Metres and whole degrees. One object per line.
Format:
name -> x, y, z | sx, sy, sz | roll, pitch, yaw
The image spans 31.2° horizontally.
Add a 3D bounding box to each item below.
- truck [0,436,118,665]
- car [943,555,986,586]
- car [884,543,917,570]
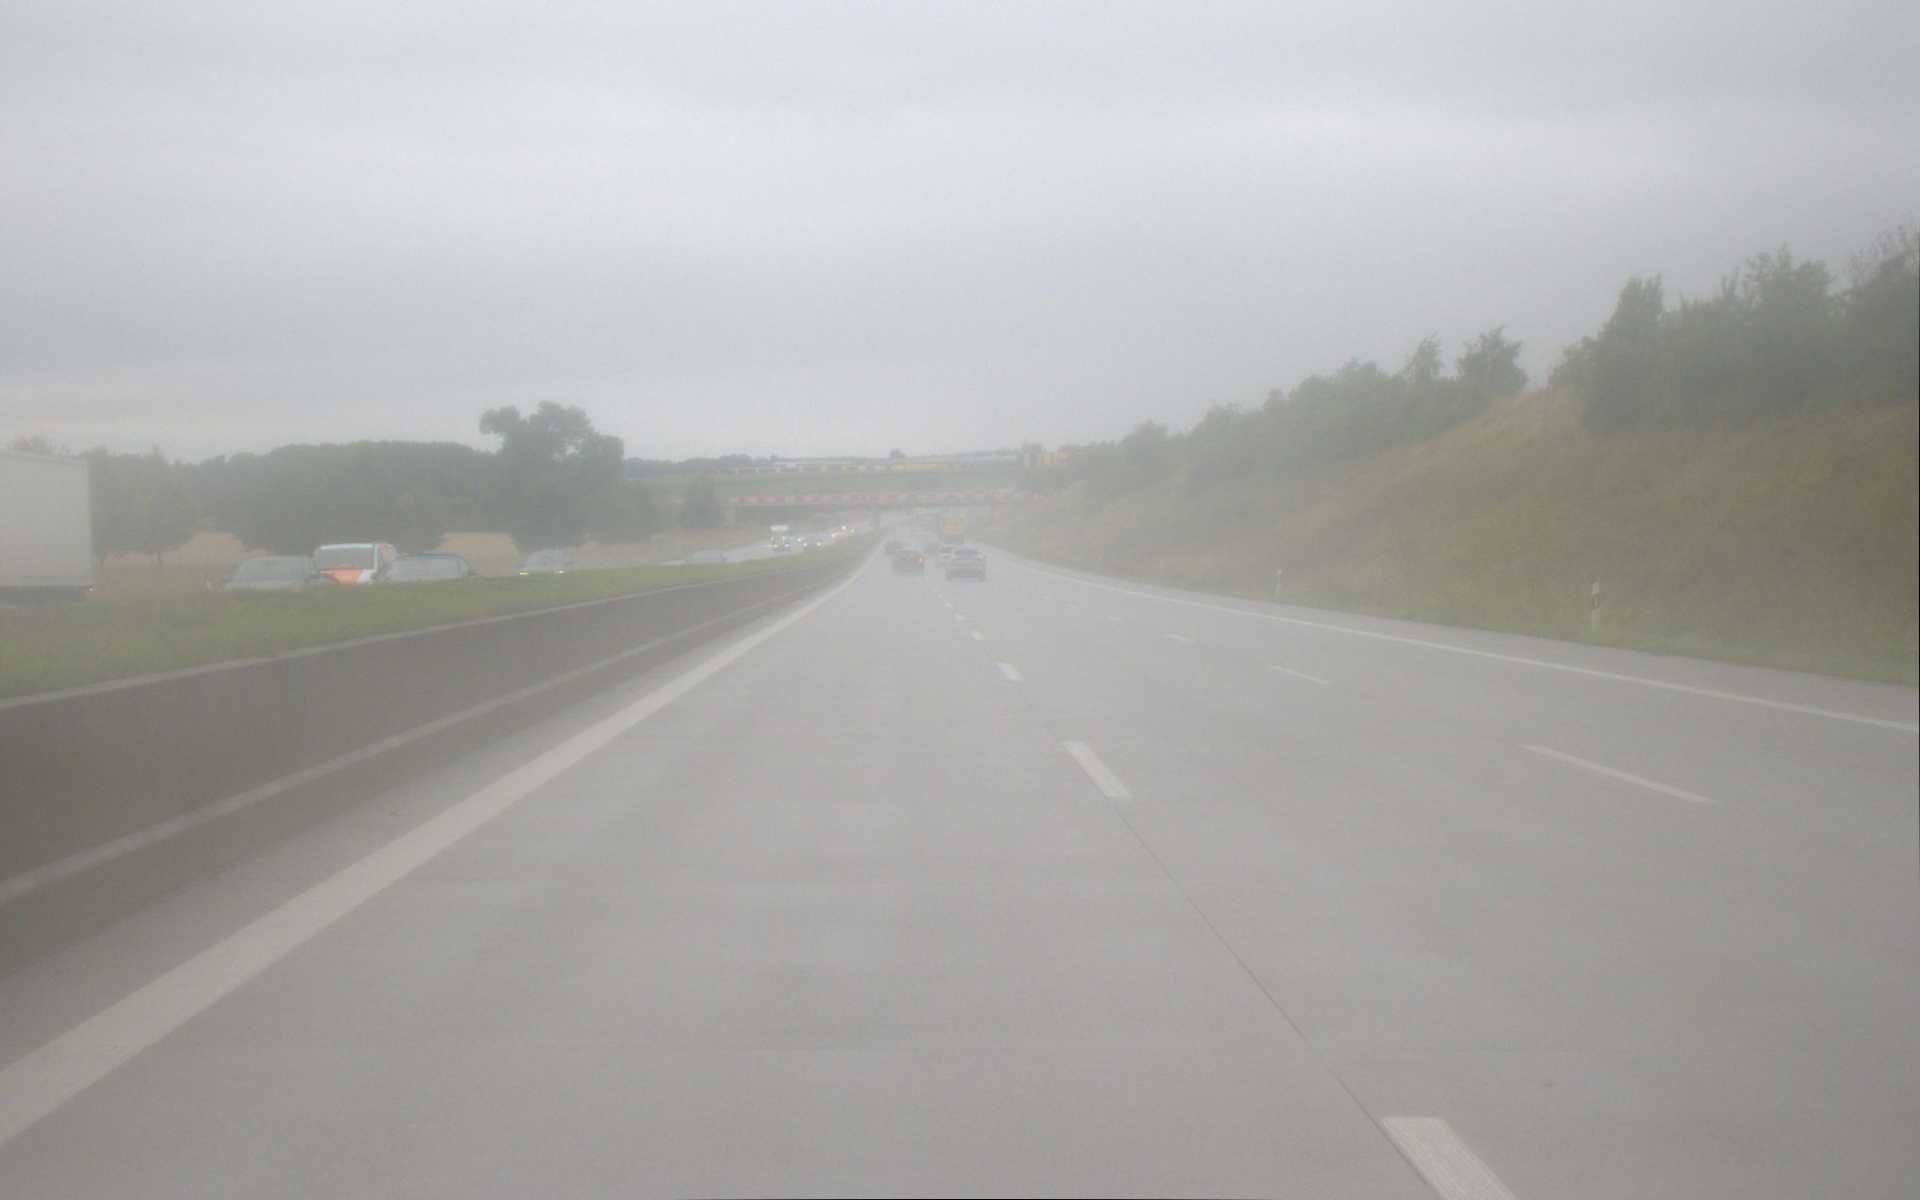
truck -> -17.622, -0.898, 60.082 | 2.903, 3.842, 12.452 | -1, 2, -1
car -> 0.199, -1.451, 165.911 | 1.847, 1.326, 4.430 | 0, 2, -2
car -> -3.212, -2.394, 187.234 | 1.729, 1.326, 4.430 | 0, 2, 0
